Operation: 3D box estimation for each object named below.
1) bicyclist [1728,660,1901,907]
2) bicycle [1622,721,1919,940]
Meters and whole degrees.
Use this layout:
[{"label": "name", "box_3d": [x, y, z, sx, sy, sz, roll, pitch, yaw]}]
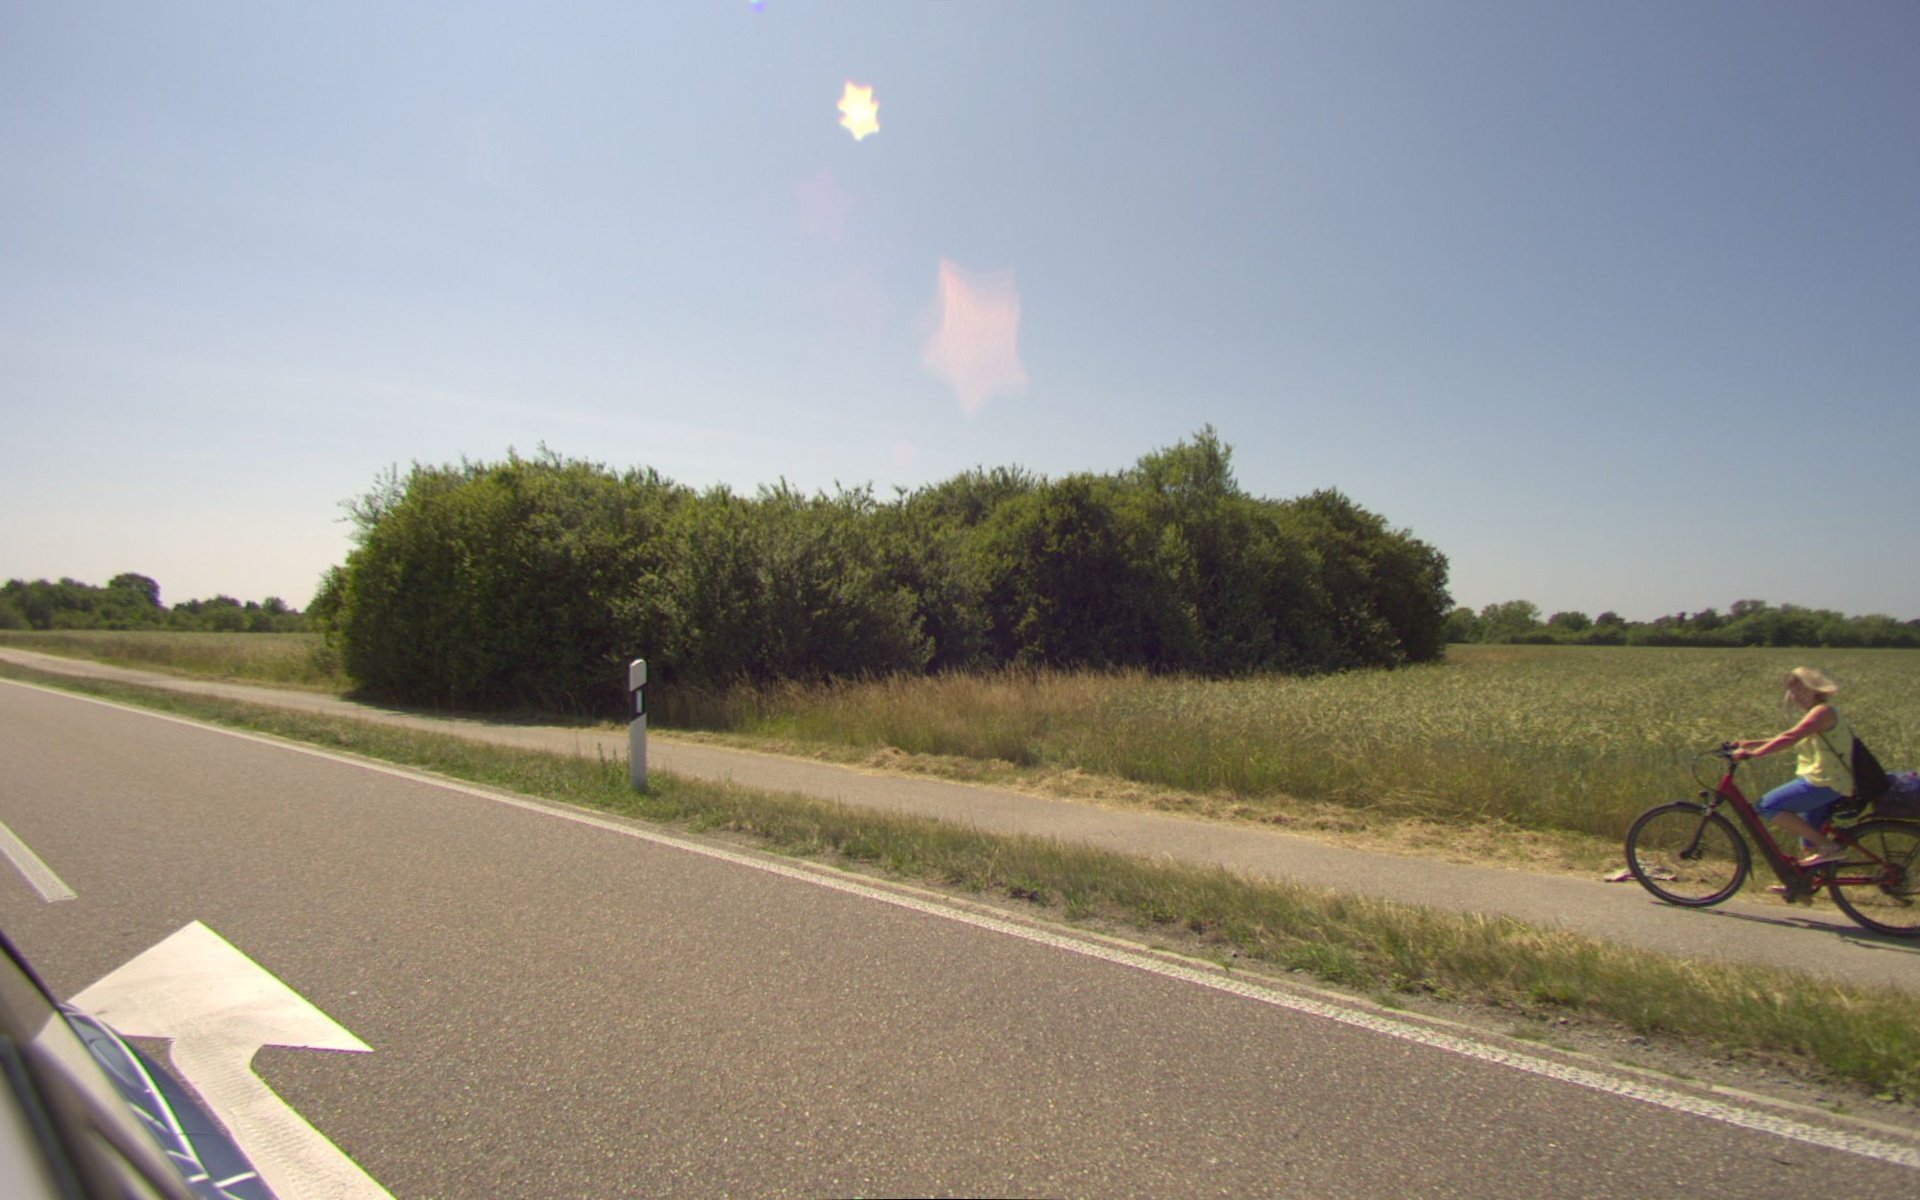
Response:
[{"label": "bicyclist", "box_3d": [5.601, 1.141, 6.663, 0.822, 1.449, 0.657, -1, -1, 41]}, {"label": "bicycle", "box_3d": [5.593, 1.464, 6.670, 1.962, 1.185, 0.687, -2, -4, 41]}]
